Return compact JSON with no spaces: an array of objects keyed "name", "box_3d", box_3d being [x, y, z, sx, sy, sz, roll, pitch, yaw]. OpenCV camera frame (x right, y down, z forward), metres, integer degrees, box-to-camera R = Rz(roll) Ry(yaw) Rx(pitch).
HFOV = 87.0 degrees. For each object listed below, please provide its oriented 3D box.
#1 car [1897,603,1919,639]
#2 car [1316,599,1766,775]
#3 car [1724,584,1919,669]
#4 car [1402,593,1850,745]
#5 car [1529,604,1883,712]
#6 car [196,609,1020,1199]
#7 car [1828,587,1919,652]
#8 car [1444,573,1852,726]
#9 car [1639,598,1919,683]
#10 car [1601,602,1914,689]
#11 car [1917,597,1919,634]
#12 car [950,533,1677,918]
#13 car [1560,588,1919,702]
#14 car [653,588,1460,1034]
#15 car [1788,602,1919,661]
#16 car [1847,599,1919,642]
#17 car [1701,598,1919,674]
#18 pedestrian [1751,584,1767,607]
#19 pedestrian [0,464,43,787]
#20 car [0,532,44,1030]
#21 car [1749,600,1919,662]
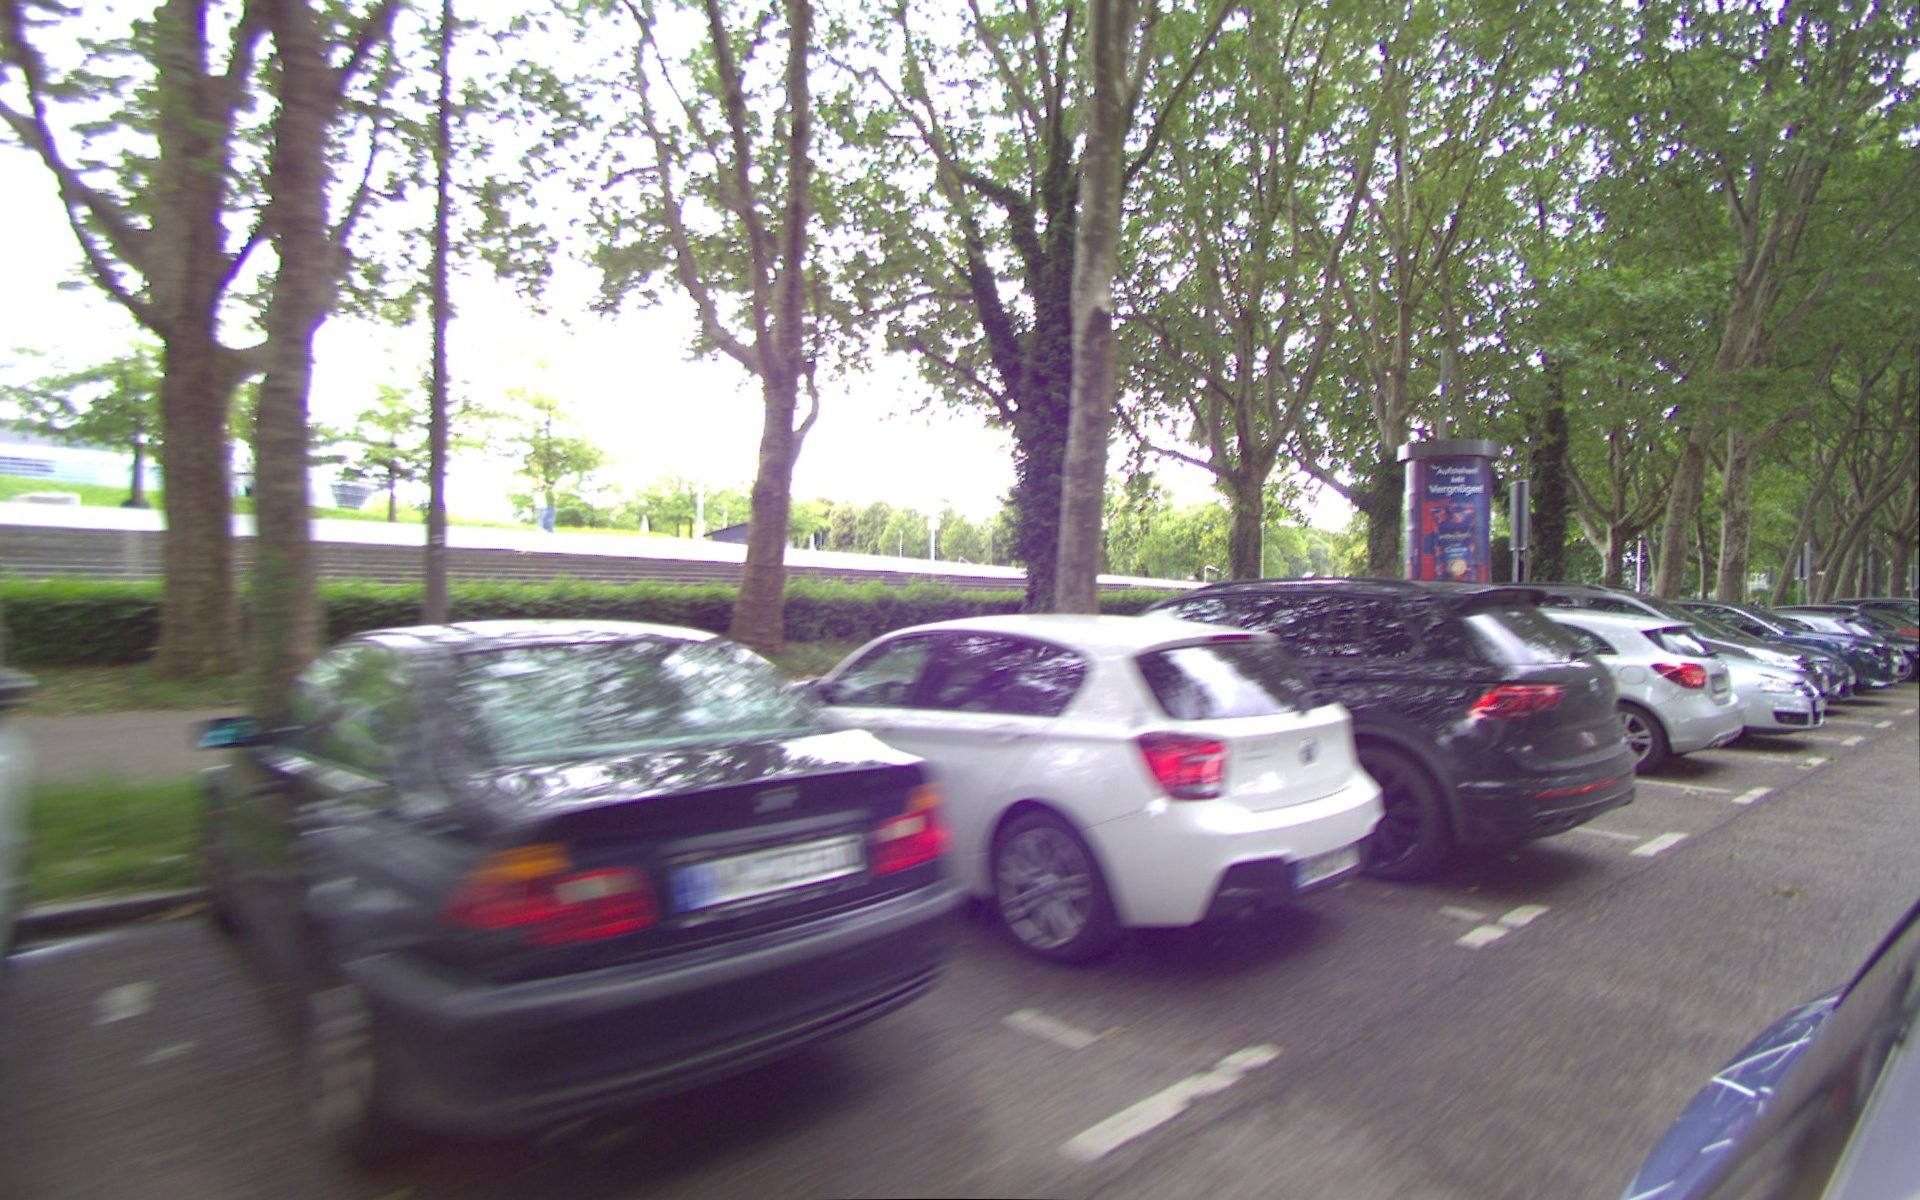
[{"name":"car","box_3d":[41.032,0.869,41.338,4.016,1.466,1.883,0,-1,45]},{"name":"car","box_3d":[5.696,0.718,10.227,1.637,1.445,3.643,1,-1,-43]},{"name":"car","box_3d":[20.764,0.580,23.443,2.009,1.819,4.508,1,-1,-36]},{"name":"car","box_3d":[7.679,0.667,12.026,1.696,1.476,4.157,0,0,-40]},{"name":"car","box_3d":[11.157,0.779,15.372,1.712,1.397,4.048,1,-1,-40]},{"name":"car","box_3d":[-1.694,0.755,3.894,1.745,1.420,3.736,0,-1,-41]},{"name":"car","box_3d":[27.975,0.565,28.958,2.011,1.819,4.503,1,-1,-40]},{"name":"car","box_3d":[9.261,0.578,13.931,1.805,1.768,4.352,1,-1,-42]},{"name":"car","box_3d":[16.622,0.740,20.530,1.888,1.521,4.361,1,-1,-33]},{"name":"car","box_3d":[14.864,0.773,19.074,1.891,1.431,4.355,1,-1,-40]},{"name":"car","box_3d":[44.987,0.701,44.134,2.017,1.644,4.533,1,0,-39]},{"name":"car","box_3d":[2.067,0.525,6.961,1.892,1.783,4.353,0,1,-41]},{"name":"car","box_3d":[13.008,0.663,17.097,1.838,1.660,4.602,1,-1,-38]},{"name":"car","box_3d":[0.150,0.703,5.631,1.916,1.474,4.352,1,-1,-42]},{"name":"car","box_3d":[24.259,0.794,25.891,1.898,1.446,4.504,0,0,-39]},{"name":"car","box_3d":[35.141,0.758,36.813,1.755,1.538,4.199,1,-1,-43]},{"name":"car","box_3d":[18.865,0.721,21.779,1.890,1.521,4.358,1,-1,-37]},{"name":"pedestrian","box_3d":[56.382,-0.332,71.383,0.685,1.587,0.725,0,0,-34]},{"name":"pedestrian","box_3d":[-6.422,0.156,6.527,0.782,2.039,0.592,0,0,34]},{"name":"car","box_3d":[-3.638,0.609,2.435,1.891,1.654,4.355,1,-1,-40]},{"name":"car","box_3d":[22.397,0.720,24.839,1.795,1.438,4.506,0,0,-38]}]
